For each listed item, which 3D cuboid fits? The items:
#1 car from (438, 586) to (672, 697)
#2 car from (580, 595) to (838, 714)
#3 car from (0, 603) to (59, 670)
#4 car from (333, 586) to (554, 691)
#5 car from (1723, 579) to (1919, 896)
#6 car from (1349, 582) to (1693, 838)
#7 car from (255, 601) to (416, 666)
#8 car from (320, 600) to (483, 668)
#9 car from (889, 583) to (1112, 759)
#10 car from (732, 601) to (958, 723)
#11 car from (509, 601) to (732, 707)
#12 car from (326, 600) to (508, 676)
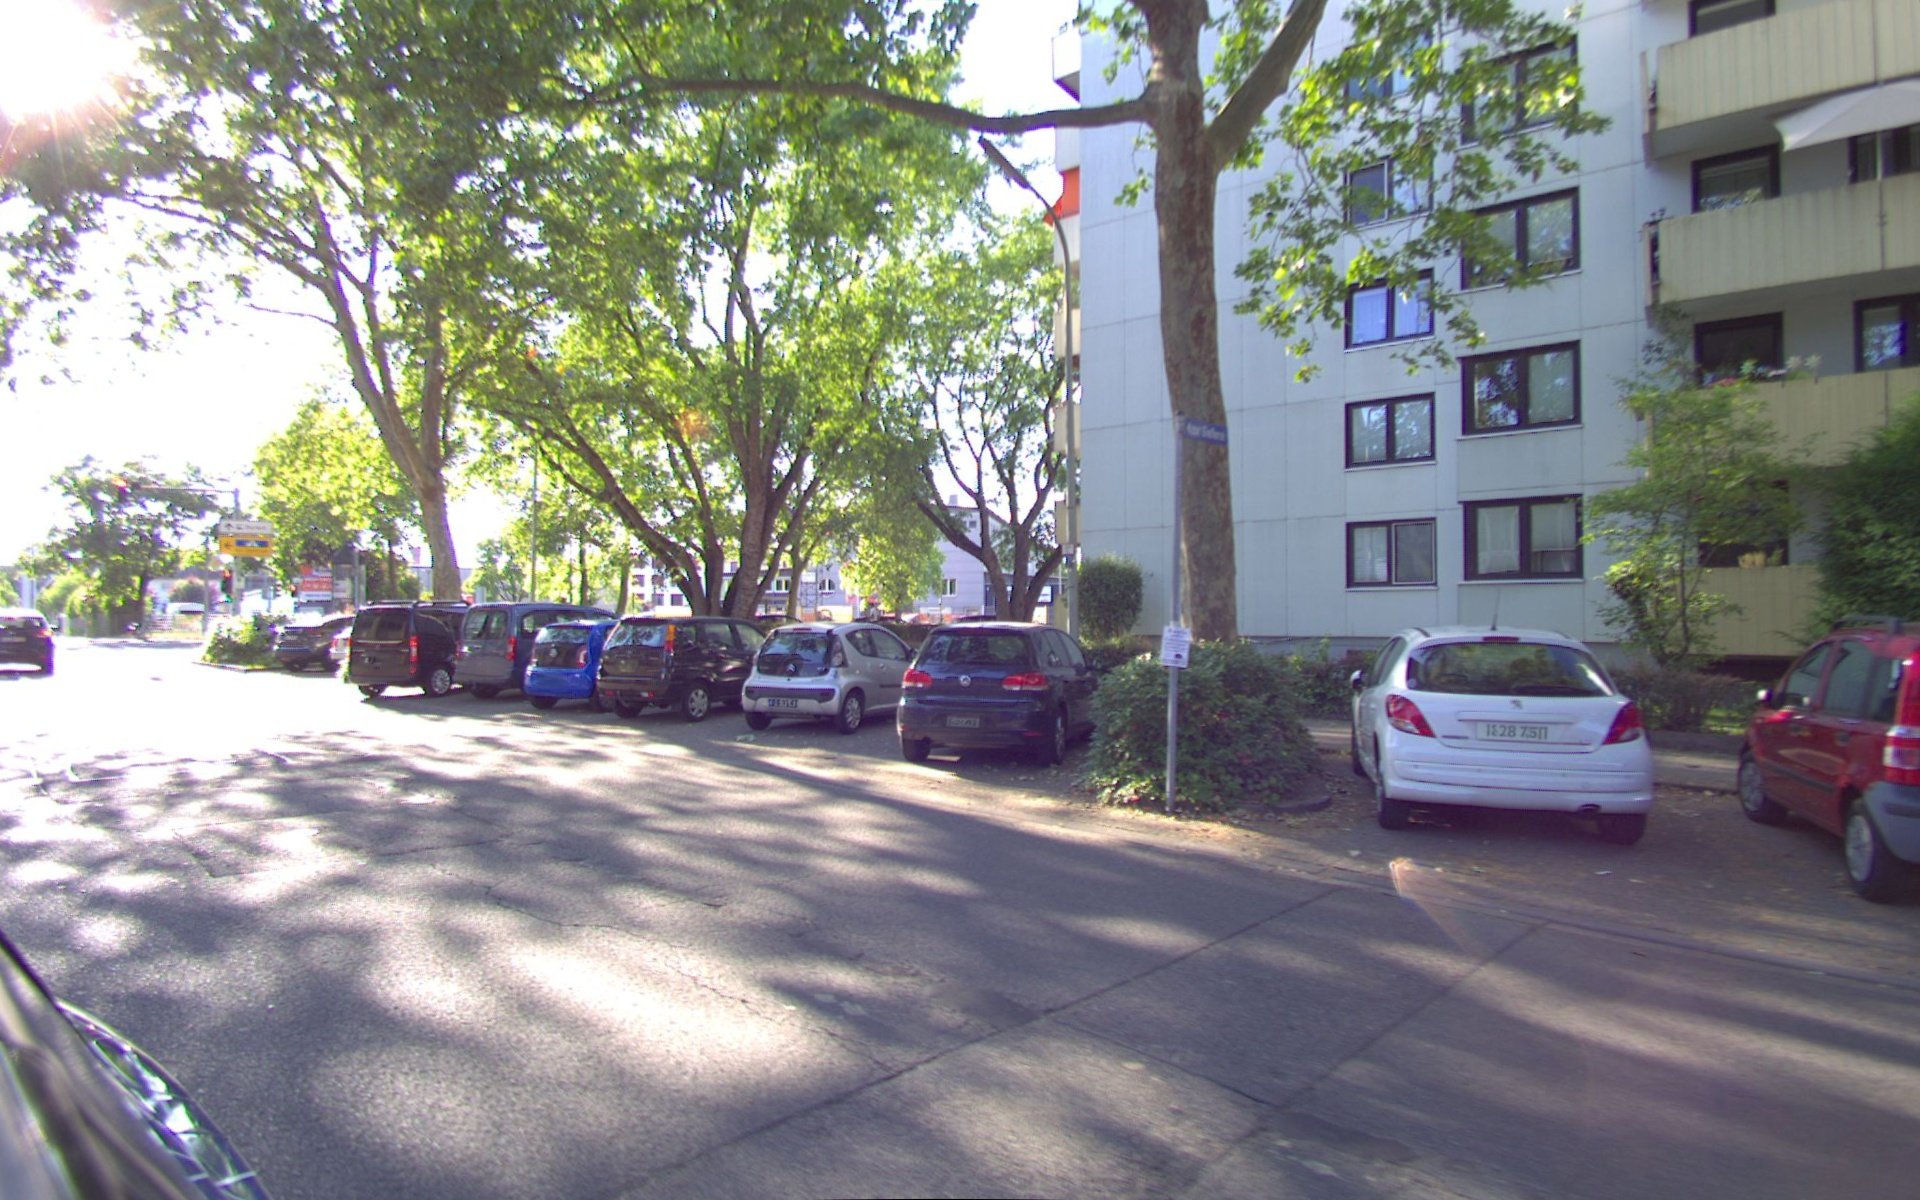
[{"bbox_3d":[-7.708,0.695,19.640,1.825,1.896,3.962,-1,1,28],"label":"car"},{"bbox_3d":[-3.848,0.763,16.158,1.790,1.637,3.960,-1,0,29],"label":"car"},{"bbox_3d":[-25.319,0.930,26.782,4.002,1.654,1.938,0,1,44],"label":"car"},{"bbox_3d":[-10.334,0.685,20.582,1.703,1.900,3.977,-1,1,18],"label":"car"},{"bbox_3d":[6.248,0.658,6.350,1.641,1.572,3.618,-1,1,26],"label":"car"},{"bbox_3d":[4.218,0.664,8.226,1.695,1.572,3.630,-1,1,17],"label":"car"},{"bbox_3d":[-17.572,0.882,28.719,1.698,1.654,3.988,-1,1,9],"label":"car"},{"bbox_3d":[-15.084,0.859,27.586,1.699,1.654,3.984,-1,1,12],"label":"car"},{"bbox_3d":[0.628,0.662,11.628,1.636,1.674,3.629,-1,1,18],"label":"car"},{"bbox_3d":[-1.524,0.789,14.702,1.695,1.472,3.622,-1,1,23],"label":"car"},{"bbox_3d":[-5.748,0.850,17.560,1.641,1.572,3.568,-1,1,26],"label":"car"},{"bbox_3d":[-13.269,0.864,25.015,1.701,1.654,3.981,-1,1,15],"label":"car"}]
